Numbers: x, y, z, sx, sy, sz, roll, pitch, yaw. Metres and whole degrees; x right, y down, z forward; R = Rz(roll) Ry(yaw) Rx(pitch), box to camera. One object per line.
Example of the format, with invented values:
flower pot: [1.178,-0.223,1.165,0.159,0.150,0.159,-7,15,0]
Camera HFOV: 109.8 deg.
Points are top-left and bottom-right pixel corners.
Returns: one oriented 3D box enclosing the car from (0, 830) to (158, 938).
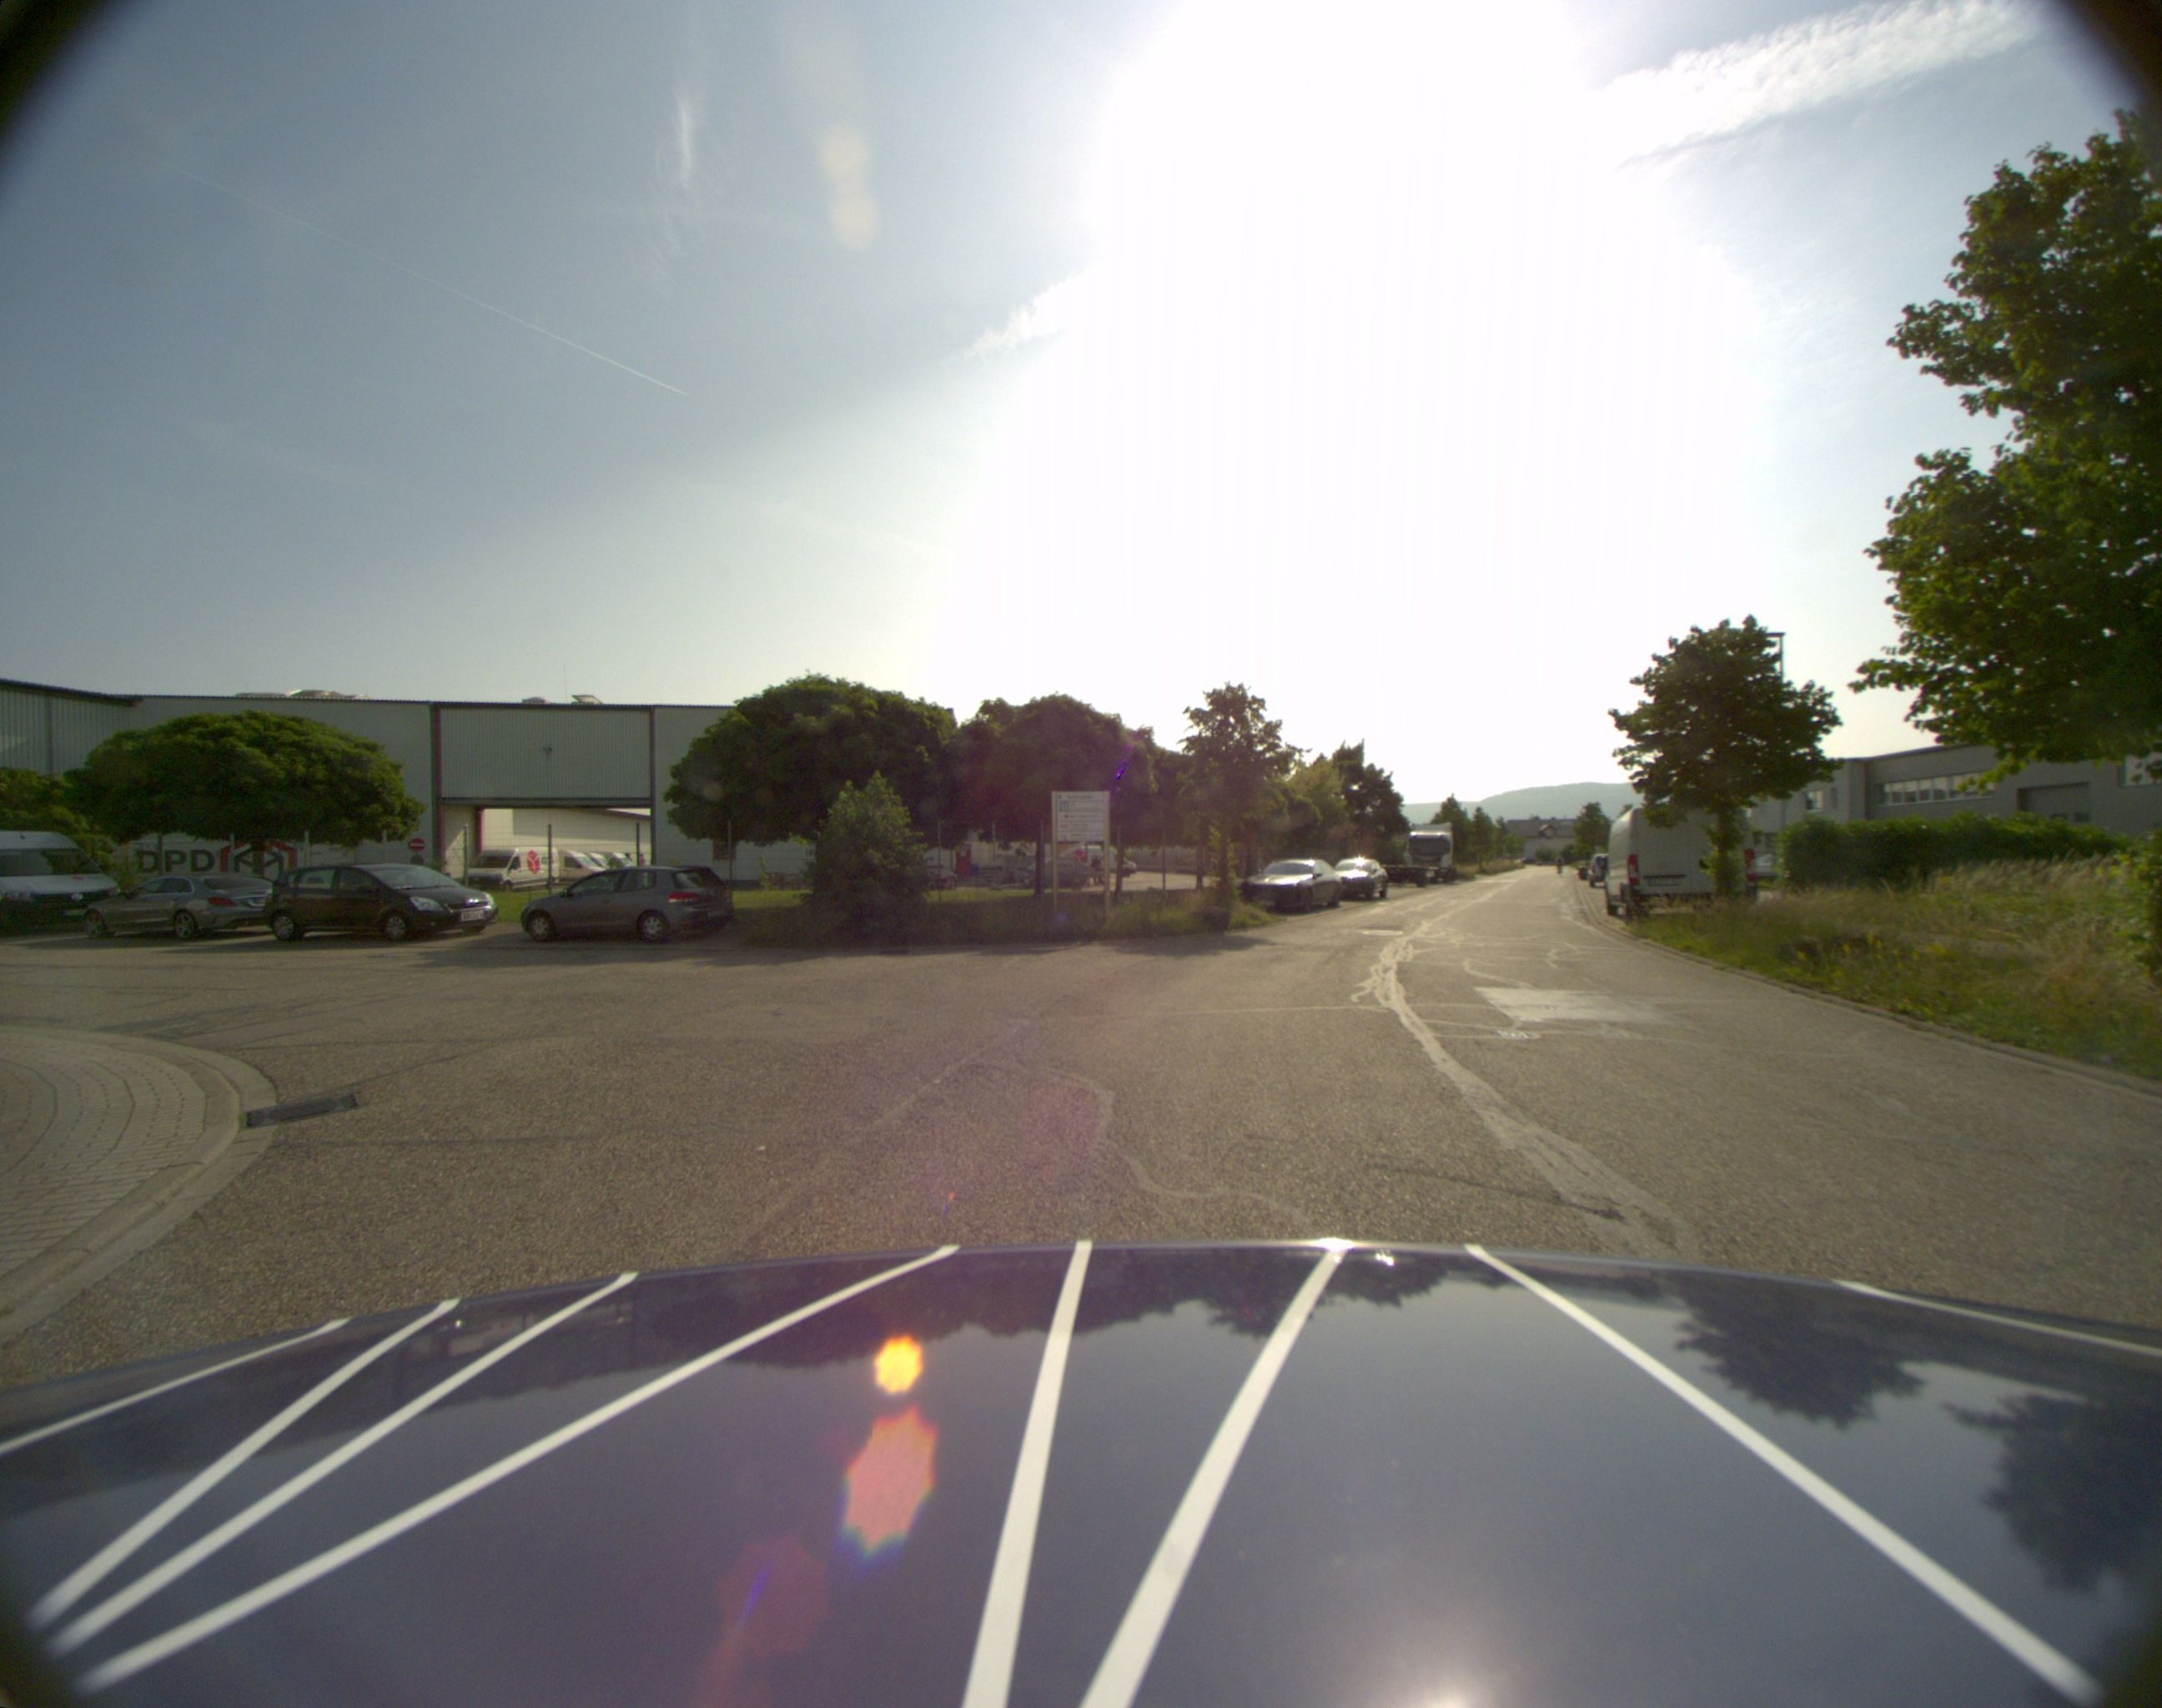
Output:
car: [-27.463,0.728,19.244,6.836,2.470,2.209,-1,3,13]

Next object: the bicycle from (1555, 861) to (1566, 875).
bicycle: [39.986,1.152,63.325,0.716,1.116,2.224,2,1,33]

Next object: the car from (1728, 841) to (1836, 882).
car: [29.968,0.314,32.627,1.836,1.562,3.821,-3,-1,16]

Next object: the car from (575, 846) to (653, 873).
car: [-36.755,0.423,59.852,4.847,2.072,1.930,0,0,-5]

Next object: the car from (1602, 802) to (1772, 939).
car: [13.759,0.331,17.717,2.103,2.579,6.516,-1,0,30]

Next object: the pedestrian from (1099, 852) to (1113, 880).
pedestrian: [1.531,0.743,47.282,0.858,1.712,0.632,-1,0,1]

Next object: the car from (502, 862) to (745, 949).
car: [-9.059,0.996,15.183,3.955,1.515,1.728,-1,3,11]

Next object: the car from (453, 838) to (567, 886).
car: [-32.340,0.387,43.381,2.174,2.503,6.695,-1,1,-8]

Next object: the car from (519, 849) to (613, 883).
car: [-34.318,0.781,50.747,4.847,2.275,1.930,0,0,-5]

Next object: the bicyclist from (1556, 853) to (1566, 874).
bicyclist: [39.943,0.759,63.240,0.639,1.709,1.168,0,0,33]

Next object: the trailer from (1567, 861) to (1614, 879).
trailer: [36.361,1.079,54.432,2.547,1.068,9.751,-3,-2,33]

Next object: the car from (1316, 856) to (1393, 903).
car: [10.692,0.925,29.543,1.881,1.565,4.121,2,2,33]

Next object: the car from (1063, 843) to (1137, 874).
car: [1.681,0.390,67.648,6.273,2.633,2.211,-1,0,-8]

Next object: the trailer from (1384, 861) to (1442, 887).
trailer: [19.038,1.082,43.327,1.939,1.228,7.466,1,1,32]

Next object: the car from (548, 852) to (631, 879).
car: [-36.644,0.821,56.714,4.847,1.953,1.930,0,0,-5]

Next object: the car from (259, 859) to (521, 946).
car: [-14.658,1.008,16.222,4.261,1.617,1.878,-1,3,11]

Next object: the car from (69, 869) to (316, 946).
car: [-20.221,1.194,17.348,4.484,1.509,1.729,-1,3,14]

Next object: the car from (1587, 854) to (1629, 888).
car: [26.787,0.837,38.682,1.598,1.641,3.652,-2,-1,33]

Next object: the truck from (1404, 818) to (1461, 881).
truck: [23.352,-0.315,50.366,2.692,3.942,6.060,2,1,31]

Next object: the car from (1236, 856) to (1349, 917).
car: [6.696,0.914,23.618,1.881,1.565,5.128,1,1,33]
